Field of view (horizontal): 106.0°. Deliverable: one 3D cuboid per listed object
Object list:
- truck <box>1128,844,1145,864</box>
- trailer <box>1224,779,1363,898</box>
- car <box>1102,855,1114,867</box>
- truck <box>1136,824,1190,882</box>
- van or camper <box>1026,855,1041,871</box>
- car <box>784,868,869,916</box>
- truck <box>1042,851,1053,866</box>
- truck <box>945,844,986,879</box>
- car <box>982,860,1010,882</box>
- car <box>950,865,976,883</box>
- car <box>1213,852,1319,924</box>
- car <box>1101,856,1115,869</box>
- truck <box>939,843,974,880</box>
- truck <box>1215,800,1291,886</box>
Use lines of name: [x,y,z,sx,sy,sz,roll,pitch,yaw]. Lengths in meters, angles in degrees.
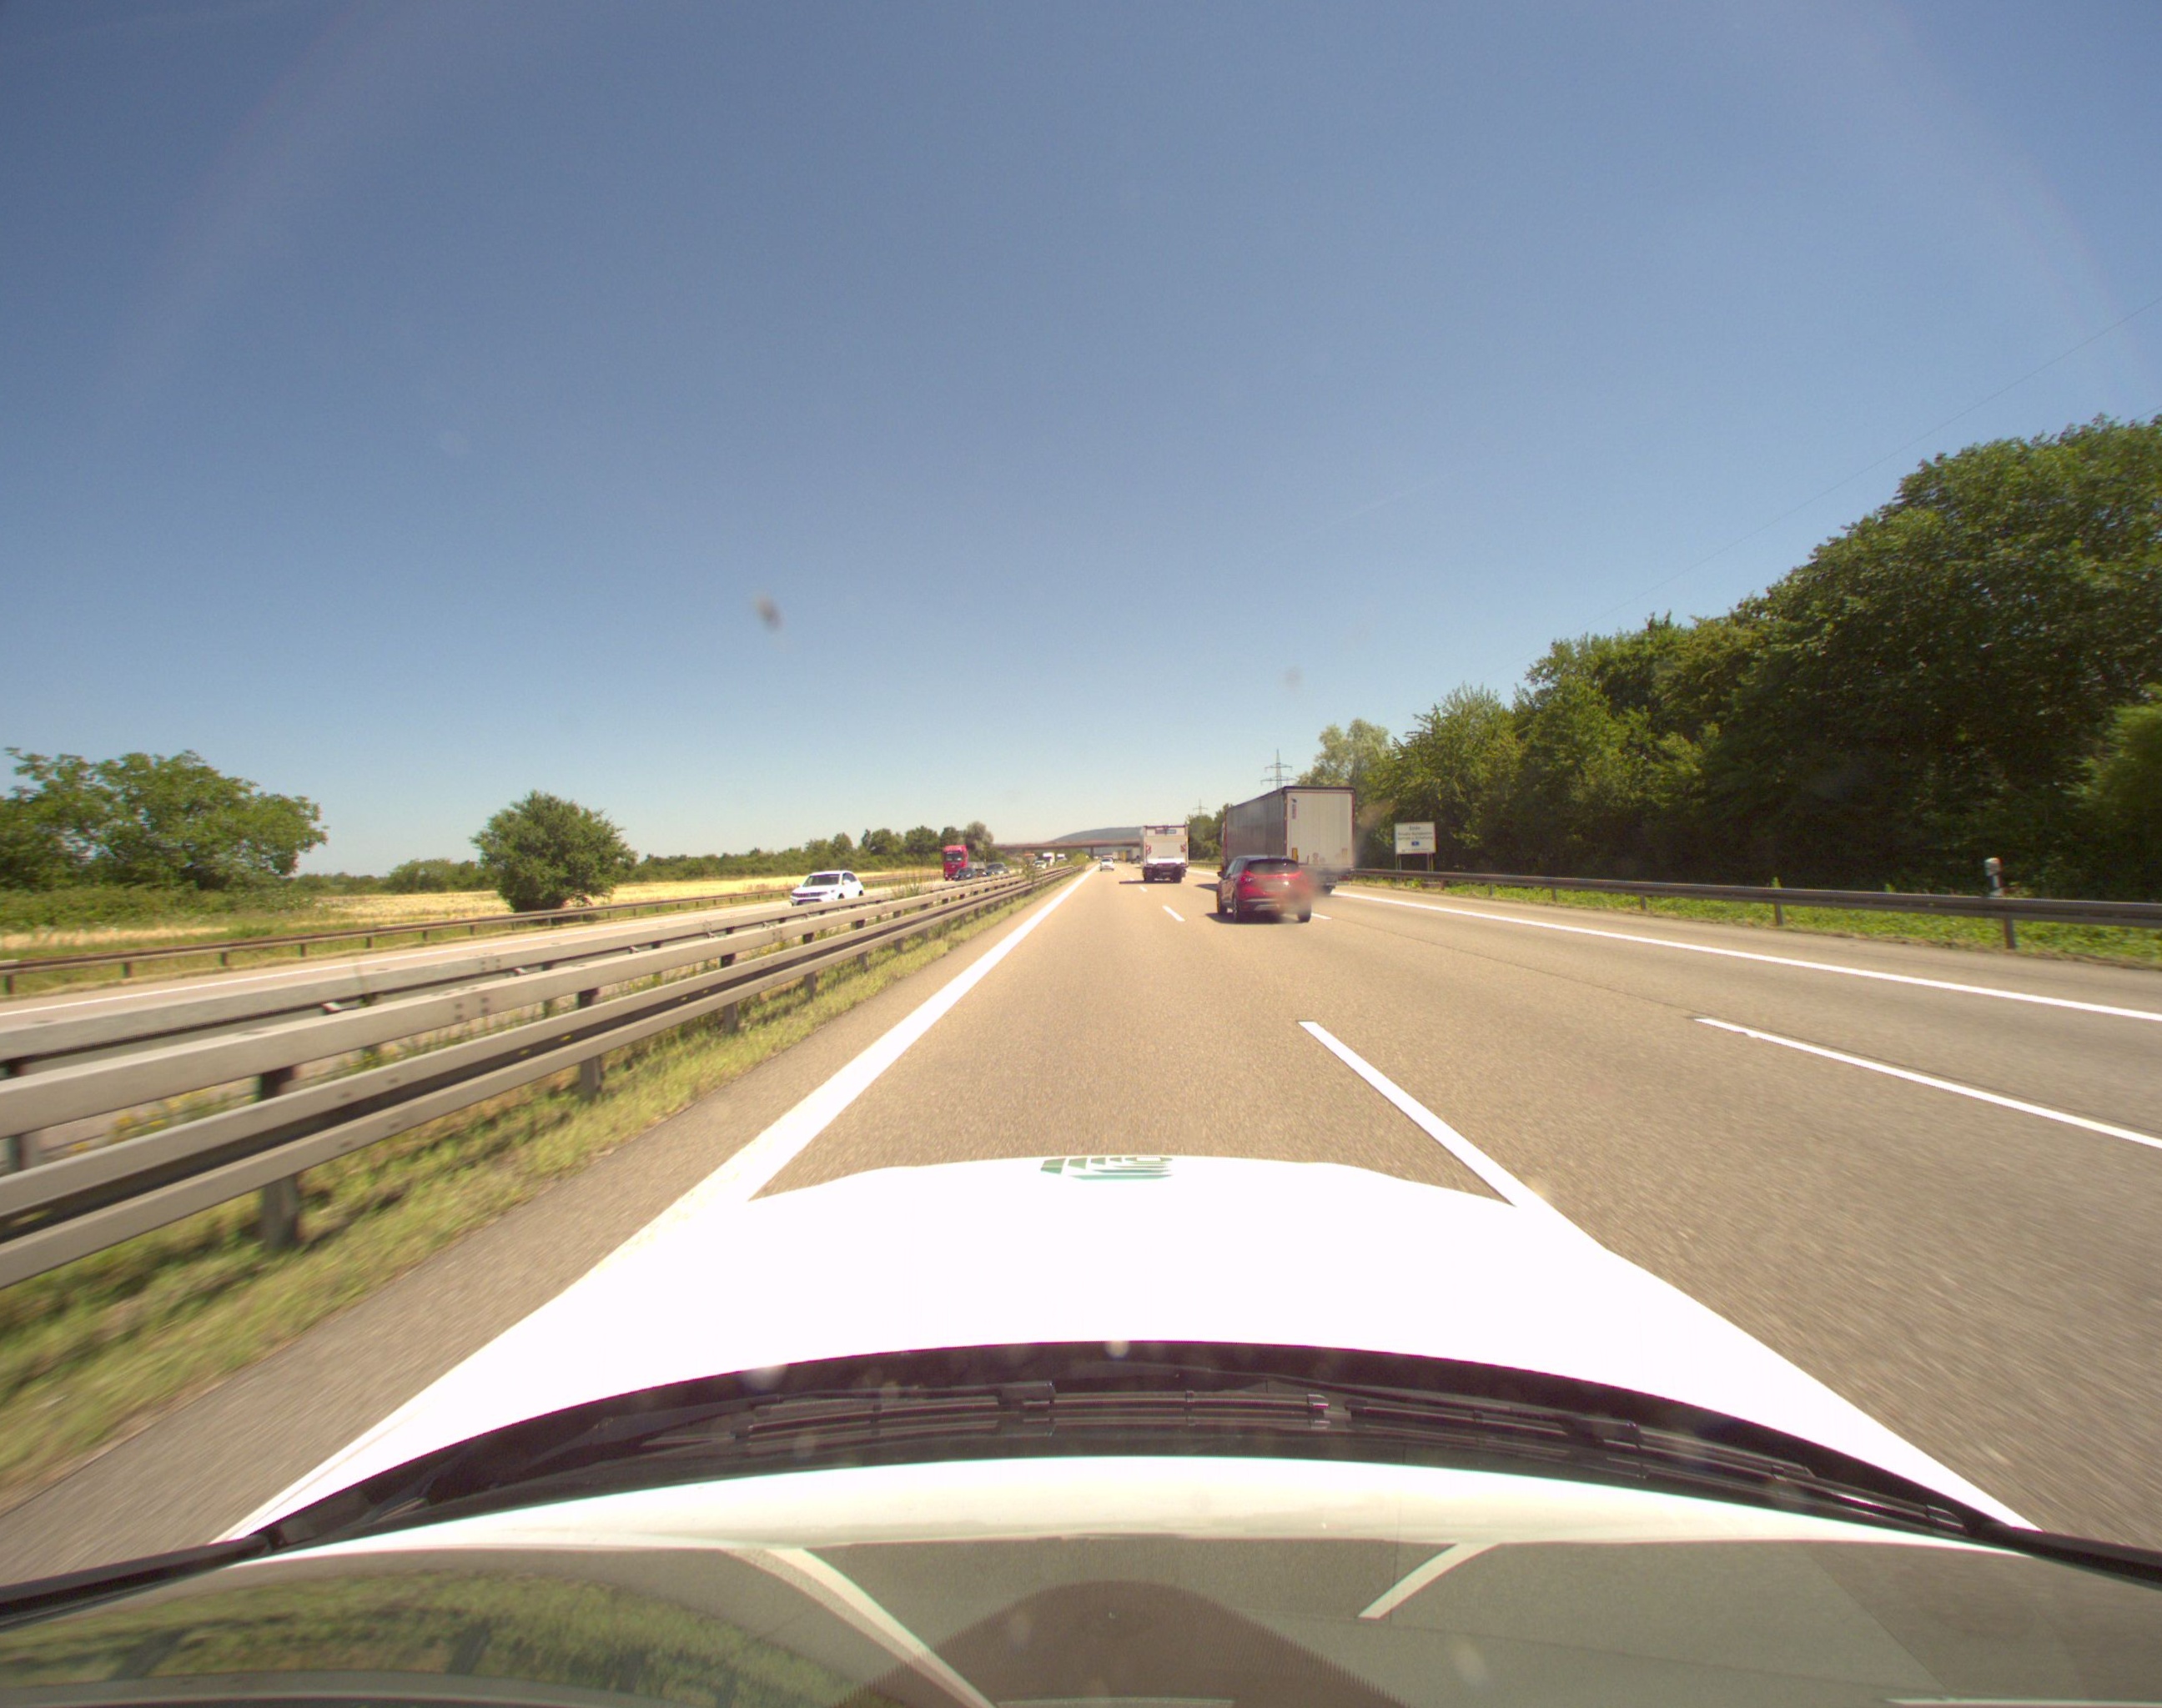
truck: [13.496,-0.009,199.045,3.507,4.416,14.597,-3,0,2]
trailer: [8.741,-0.537,35.743,2.779,4.164,13.577,-1,0,1]
car: [4.402,1.177,131.198,1.754,1.850,4.002,-2,0,2]
truck: [5.084,-0.009,51.955,2.772,3.373,8.130,-1,0,2]
van or camper: [-8.552,1.590,147.120,2.163,2.588,5.874,-4,-1,1]
car: [-9.563,1.384,30.899,1.802,1.536,3.962,-3,0,1]
truck: [-9.697,1.342,237.620,2.670,4.014,5.757,-3,0,1]
truck: [-14.301,0.886,102.169,2.751,4.014,13.526,-4,0,1]
car: [-7.162,1.407,68.886,1.802,1.647,3.962,-3,0,1]
car: [-11.042,1.878,76.429,1.727,1.451,3.678,-4,0,2]
car: [4.417,0.764,20.033,1.796,1.545,4.002,-1,0,2]
car: [3.315,1.063,98.128,1.601,1.467,4.002,-2,0,2]
truck: [-14.463,0.864,95.009,2.751,4.014,5.752,-4,0,1]
truck: [8.915,-0.515,42.770,2.785,4.164,5.723,-1,0,1]
